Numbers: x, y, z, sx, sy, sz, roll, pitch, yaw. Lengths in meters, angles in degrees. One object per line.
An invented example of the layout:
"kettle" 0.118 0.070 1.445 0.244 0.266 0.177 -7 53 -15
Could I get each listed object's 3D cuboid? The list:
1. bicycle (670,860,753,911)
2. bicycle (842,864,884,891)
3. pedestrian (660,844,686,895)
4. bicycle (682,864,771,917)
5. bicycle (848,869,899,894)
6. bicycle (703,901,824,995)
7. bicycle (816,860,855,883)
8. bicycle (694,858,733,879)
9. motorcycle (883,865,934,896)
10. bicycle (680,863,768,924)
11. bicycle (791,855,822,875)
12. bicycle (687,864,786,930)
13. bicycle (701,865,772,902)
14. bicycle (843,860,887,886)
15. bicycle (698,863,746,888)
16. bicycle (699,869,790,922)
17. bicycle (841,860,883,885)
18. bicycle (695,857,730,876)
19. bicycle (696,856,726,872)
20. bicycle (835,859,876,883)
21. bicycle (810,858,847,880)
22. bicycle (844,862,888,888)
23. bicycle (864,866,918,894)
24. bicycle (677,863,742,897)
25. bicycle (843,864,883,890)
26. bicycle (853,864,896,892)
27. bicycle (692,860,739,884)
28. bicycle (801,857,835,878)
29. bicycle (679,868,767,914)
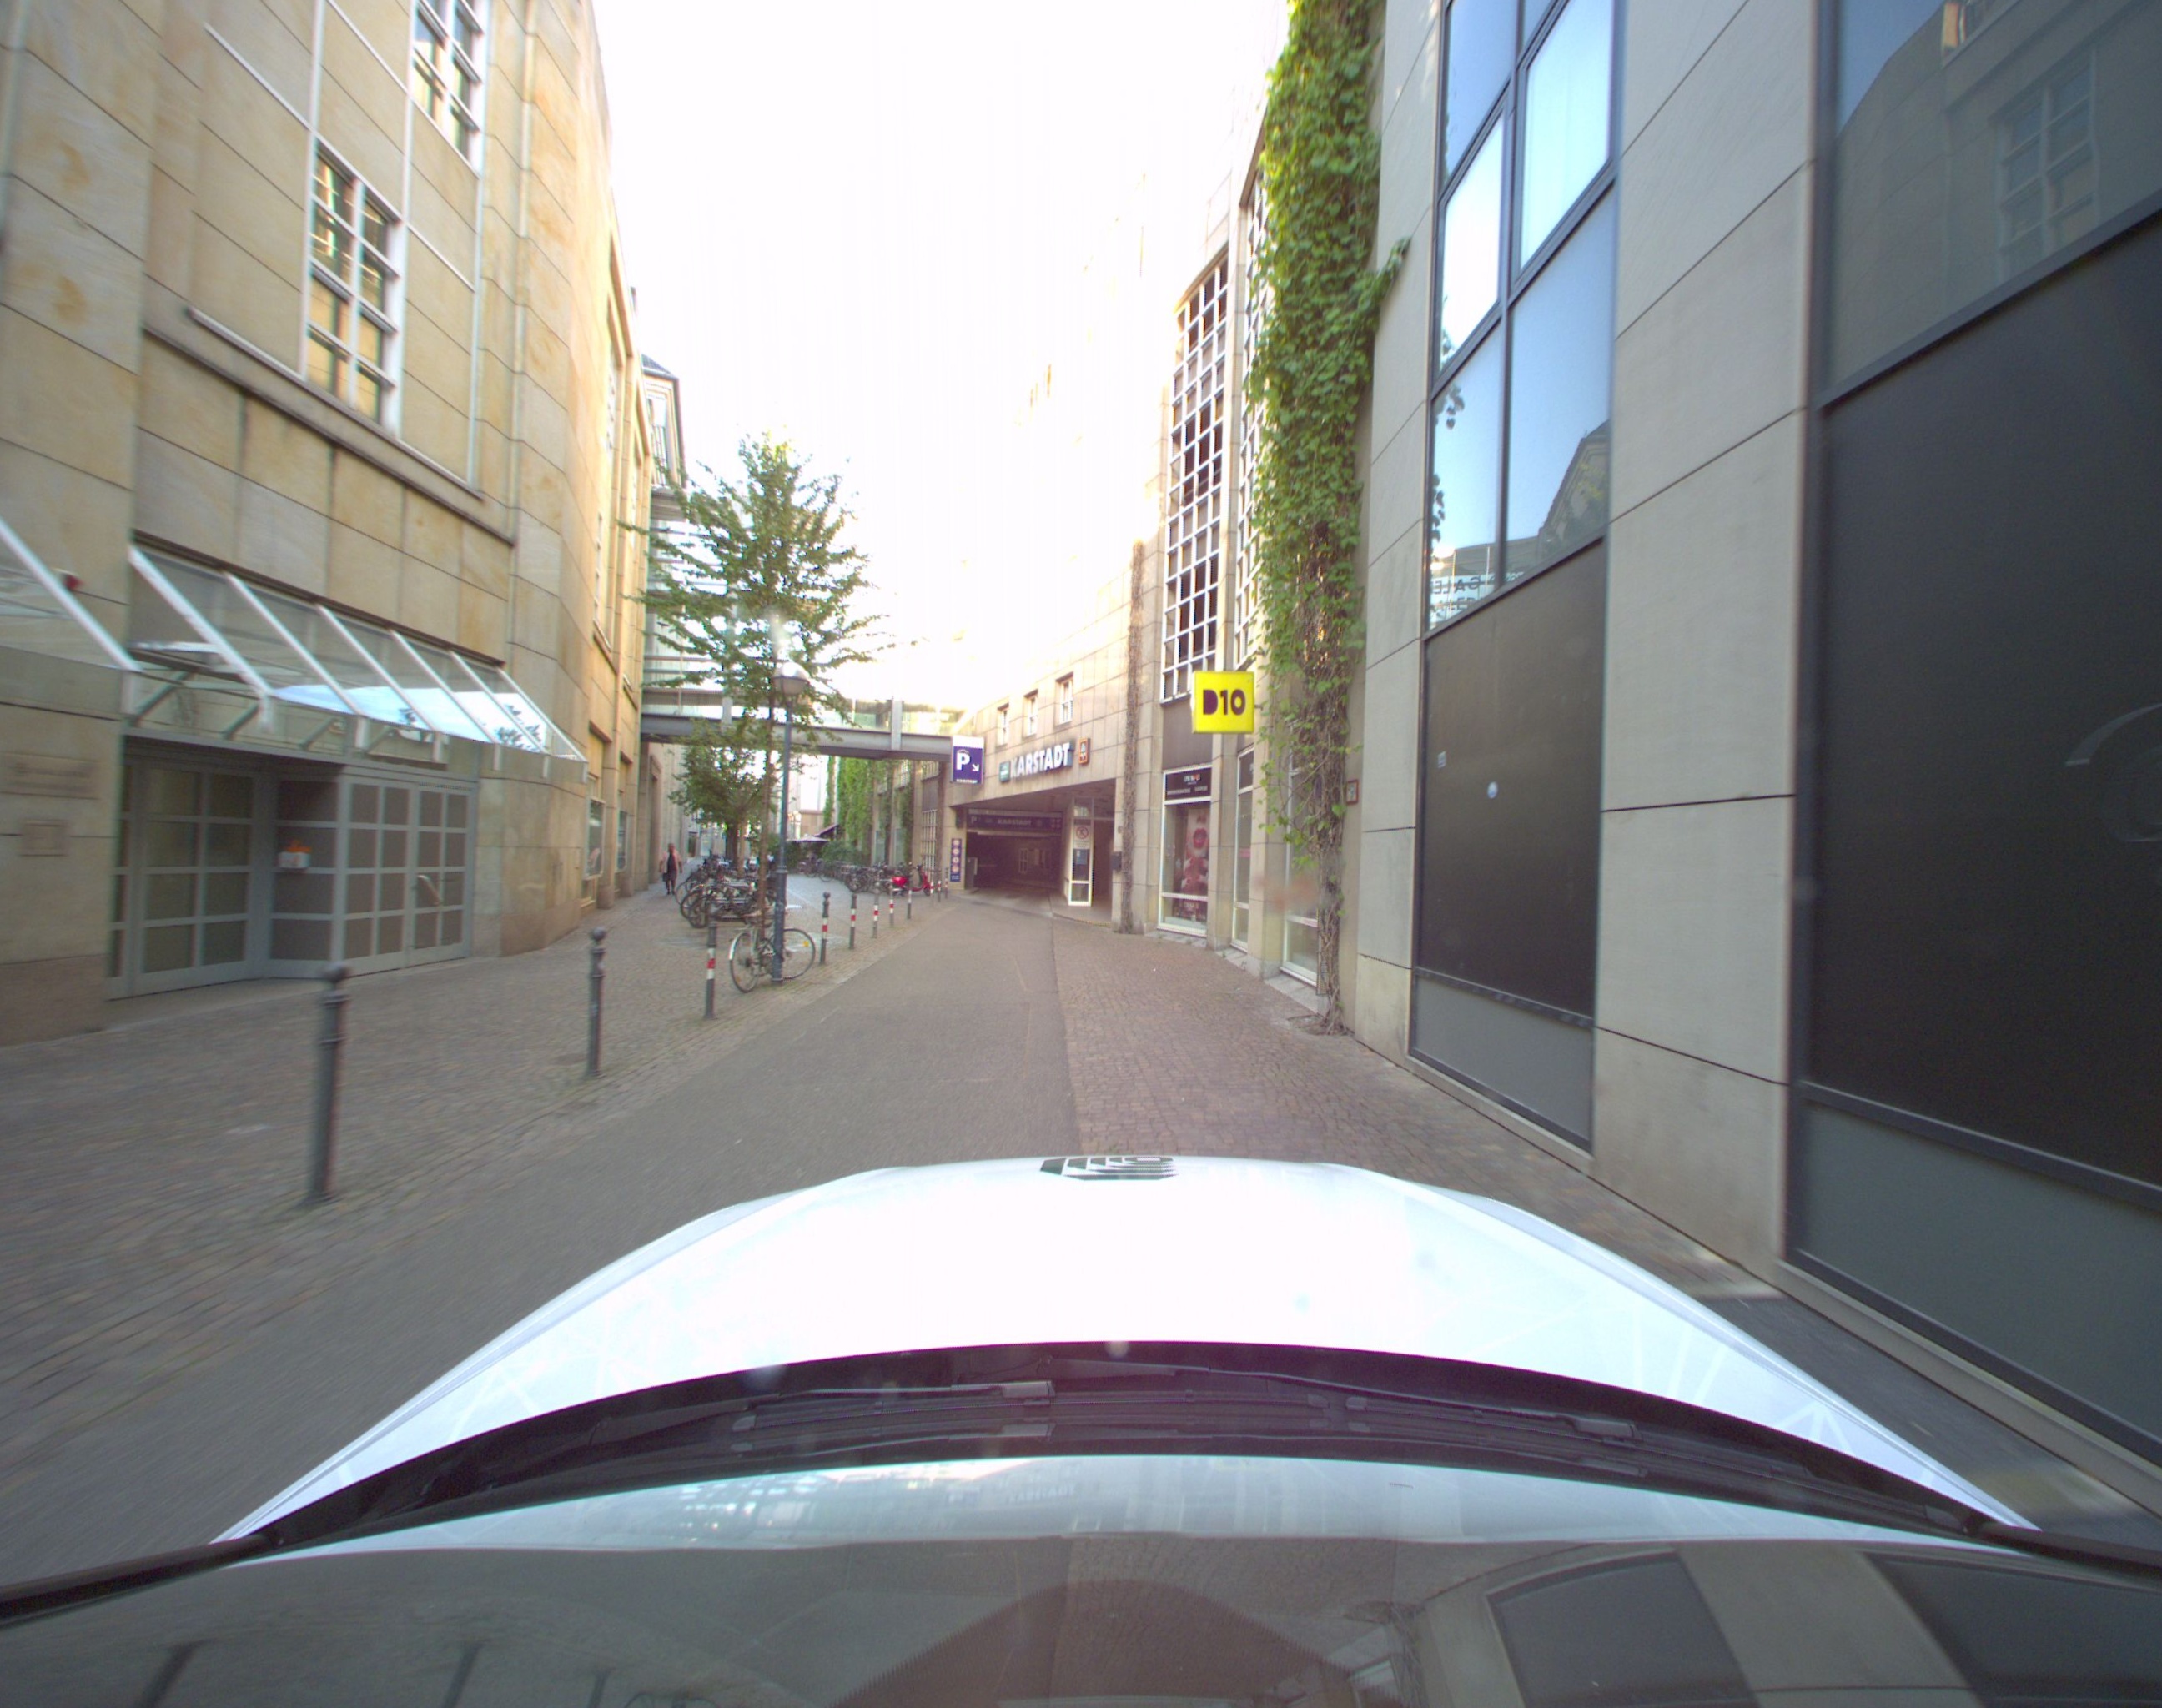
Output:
"bicycle" -9.156 0.777 20.229 1.843 1.225 0.529 1 0 -26
"bicycle" -8.690 0.943 32.513 1.546 1.049 0.571 1 0 -24
"pedestrian" -12.862 0.486 25.685 0.701 1.582 0.713 1 0 -26
"bicycle" -8.292 0.841 19.086 1.882 1.177 0.529 1 0 -26
"bicycle" -7.804 1.025 30.646 1.781 0.904 0.460 1 0 -24
"bicycle" -3.770 1.083 9.828 0.489 0.939 1.664 3 0 12
"bicycle" -12.176 0.859 40.406 1.781 1.114 0.538 1 0 -24
"bicycle" -20.245 0.801 44.873 1.914 1.112 0.477 1 0 -26
"motorcycle" -5.995 0.911 28.297 1.670 1.050 0.460 1 0 -24
"bicycle" -7.572 0.821 17.290 1.662 1.231 0.529 1 0 -26
"bicycle" -17.172 0.691 50.982 1.781 1.190 0.582 1 0 -24
"bicycle" -6.784 0.828 16.066 1.775 1.231 0.529 1 0 -26
"bicycle" -10.131 0.852 23.948 1.886 1.043 0.529 1 0 -26
"bicycle" -9.568 0.846 36.099 1.781 1.114 0.538 1 0 -24
"bicycle" -14.947 0.884 33.924 1.789 1.019 0.477 1 0 -26
"bicycle" -7.511 0.909 18.186 1.846 1.122 0.529 1 0 -26
"bicycle" -10.000 0.829 37.271 1.781 1.114 0.538 1 0 -24
"bicycle" -22.091 0.766 48.865 1.914 1.112 0.477 1 0 -26
"bicycle" -26.345 0.698 58.061 1.915 1.112 0.477 1 0 -28
"bicycle" -10.603 0.807 38.260 1.781 1.114 0.538 1 0 -24
"bicycle" -13.063 0.758 42.149 1.781 1.114 0.538 1 0 -24
"bicycle" -9.245 0.900 35.047 1.781 1.114 0.538 1 0 -24
"bicycle" -6.959 0.959 29.855 1.856 0.982 0.460 1 0 -24
"bicycle" -11.673 0.820 25.597 1.834 1.043 0.529 1 0 -26
"bicycle" -9.078 0.965 33.883 1.546 1.049 0.571 1 0 -24
"bicycle" -8.003 0.929 31.584 1.546 1.049 0.571 1 0 -24
"bicycle" -15.568 0.760 34.719 1.789 1.019 0.477 1 0 -26
"bicycle" -14.869 0.763 45.995 1.780 1.114 0.539 1 0 -22
"bicycle" -8.602 0.870 19.594 1.904 1.052 0.529 1 0 -26
